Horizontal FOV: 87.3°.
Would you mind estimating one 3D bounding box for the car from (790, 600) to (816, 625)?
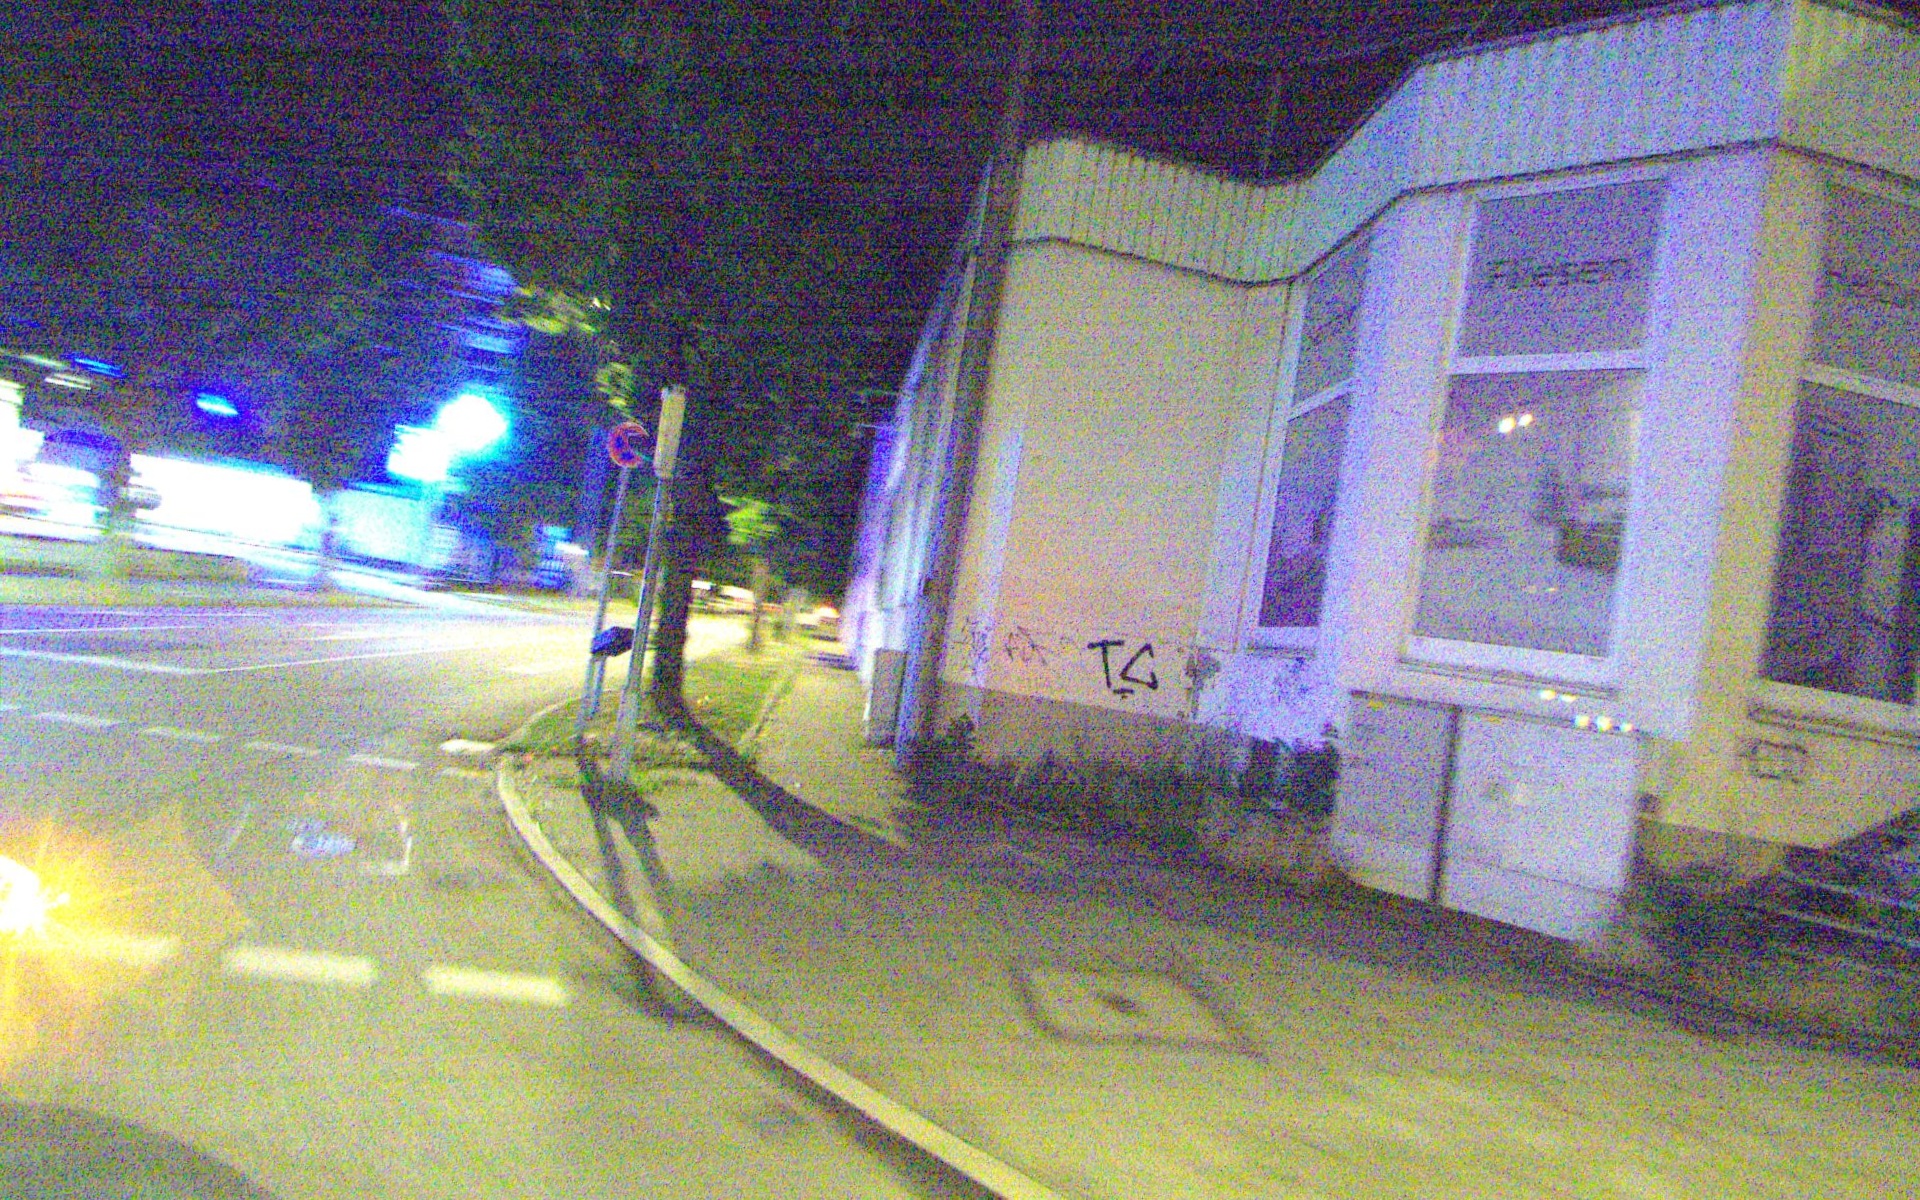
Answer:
[{"bbox_3d":[-14.677,1.173,93.701,1.968,2.037,3.993,8,-2,-11],"label":"car"}]

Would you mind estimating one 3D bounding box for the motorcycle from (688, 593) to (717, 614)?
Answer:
[{"bbox_3d":[-20.932,0.301,81.836,2.005,1.408,0.868,9,-2,-37],"label":"motorcycle"}]

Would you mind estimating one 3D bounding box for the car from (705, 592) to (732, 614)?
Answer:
[{"bbox_3d":[-24.506,0.303,102.150,1.965,1.864,3.998,8,-2,-7],"label":"car"}]

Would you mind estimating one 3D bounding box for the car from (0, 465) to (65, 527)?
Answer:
[{"bbox_3d":[-31.628,-3.642,32.101,3.937,1.681,1.997,11,-2,-10],"label":"car"}]

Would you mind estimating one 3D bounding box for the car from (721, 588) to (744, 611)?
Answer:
[{"bbox_3d":[-26.737,-0.016,118.287,1.966,2.443,4.481,8,-2,-8],"label":"car"}]
